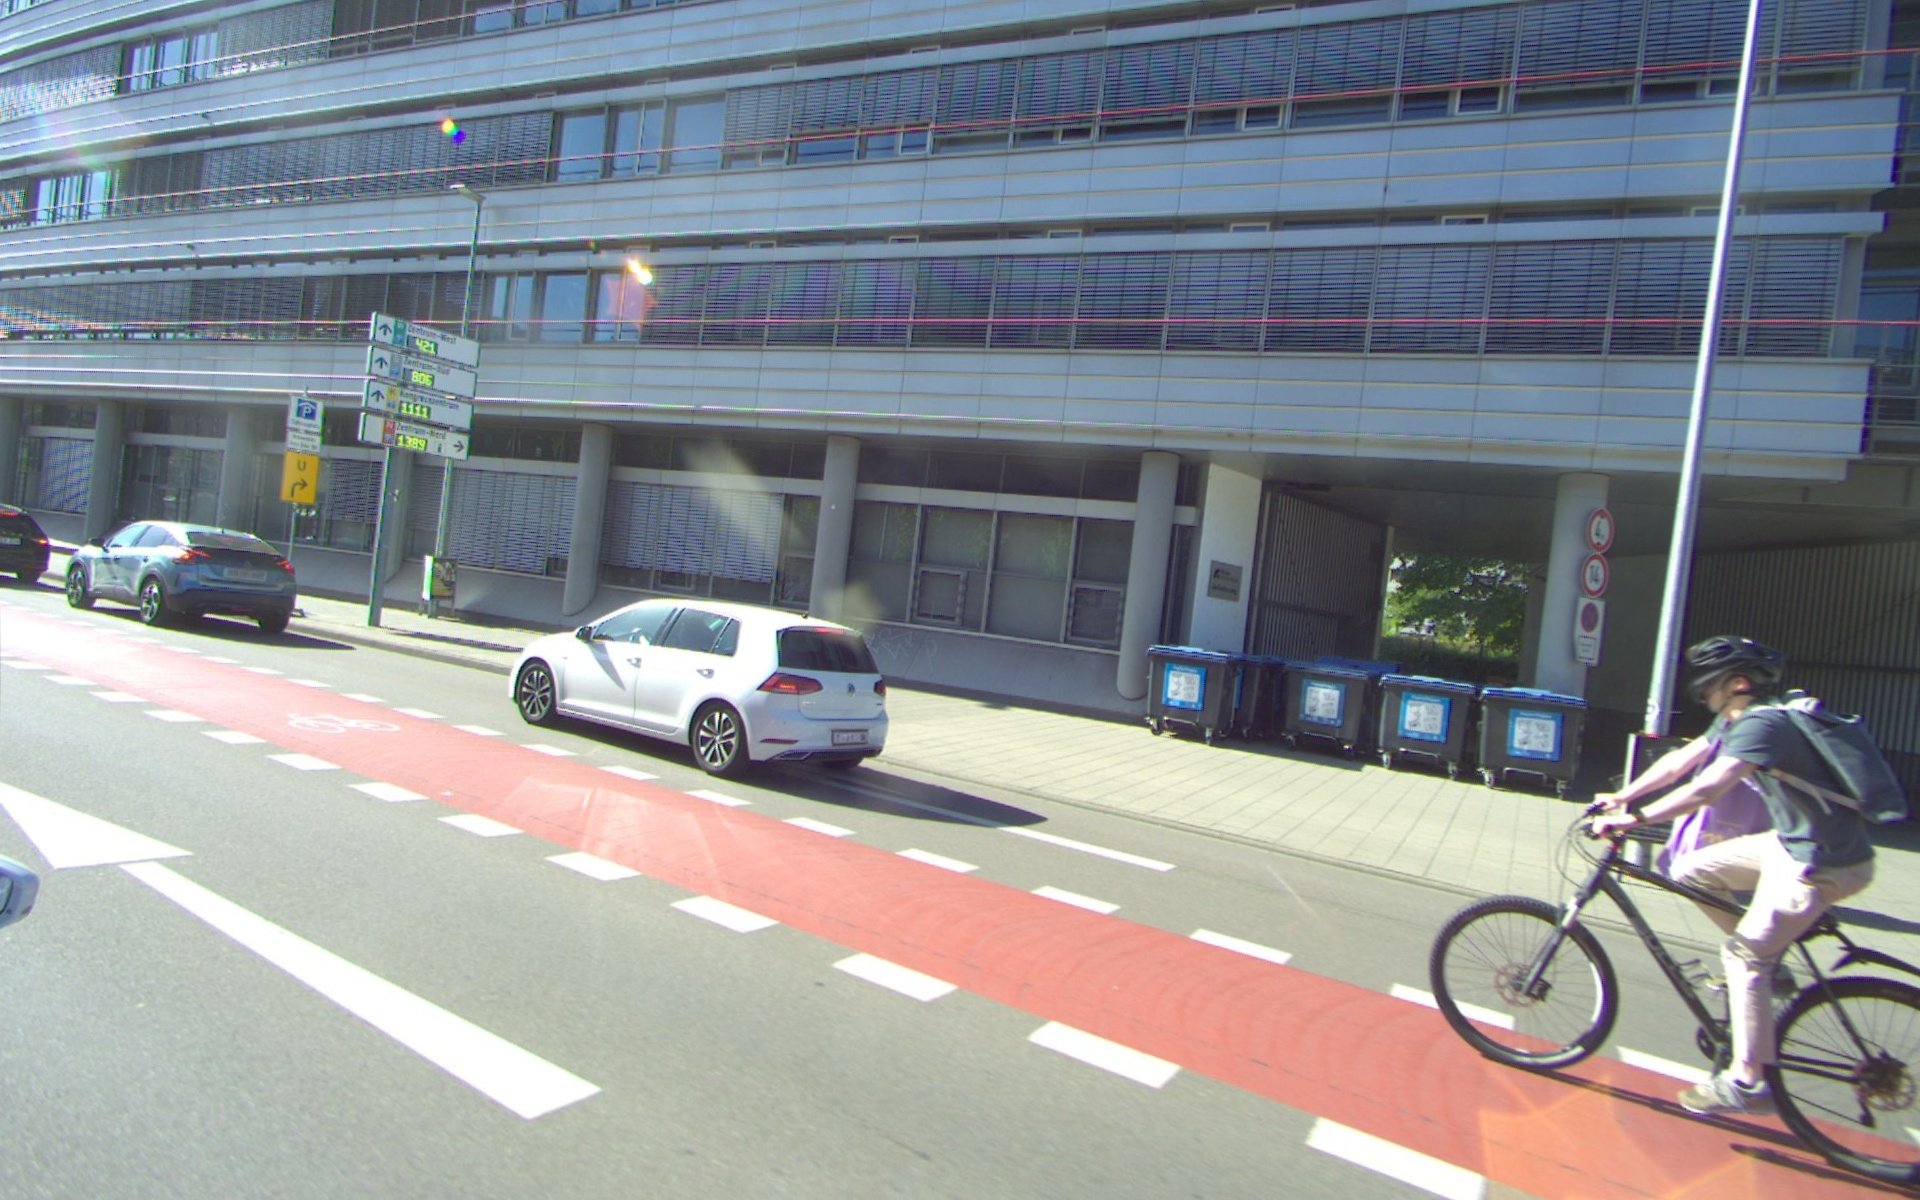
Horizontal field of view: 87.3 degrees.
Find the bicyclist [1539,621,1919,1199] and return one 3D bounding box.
[{"bbox_3d":[2.898,1.019,3.770,1.035,1.712,0.807,7,-1,35],"label":"bicyclist"}]

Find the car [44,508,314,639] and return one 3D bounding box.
[{"bbox_3d":[-12.296,-0.436,15.788,4.324,1.543,1.725,7,-1,30],"label":"car"}]

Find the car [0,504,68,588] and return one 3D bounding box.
[{"bbox_3d":[-19.541,-1.249,19.563,4.557,1.439,1.726,7,-2,28],"label":"car"}]

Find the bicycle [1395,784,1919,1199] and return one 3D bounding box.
[{"bbox_3d":[2.831,1.440,3.929,1.862,1.049,0.826,6,-2,35],"label":"bicycle"}]

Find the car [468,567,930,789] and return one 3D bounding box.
[{"bbox_3d":[-2.600,0.669,9.727,4.223,1.419,1.777,6,-3,32],"label":"car"}]
